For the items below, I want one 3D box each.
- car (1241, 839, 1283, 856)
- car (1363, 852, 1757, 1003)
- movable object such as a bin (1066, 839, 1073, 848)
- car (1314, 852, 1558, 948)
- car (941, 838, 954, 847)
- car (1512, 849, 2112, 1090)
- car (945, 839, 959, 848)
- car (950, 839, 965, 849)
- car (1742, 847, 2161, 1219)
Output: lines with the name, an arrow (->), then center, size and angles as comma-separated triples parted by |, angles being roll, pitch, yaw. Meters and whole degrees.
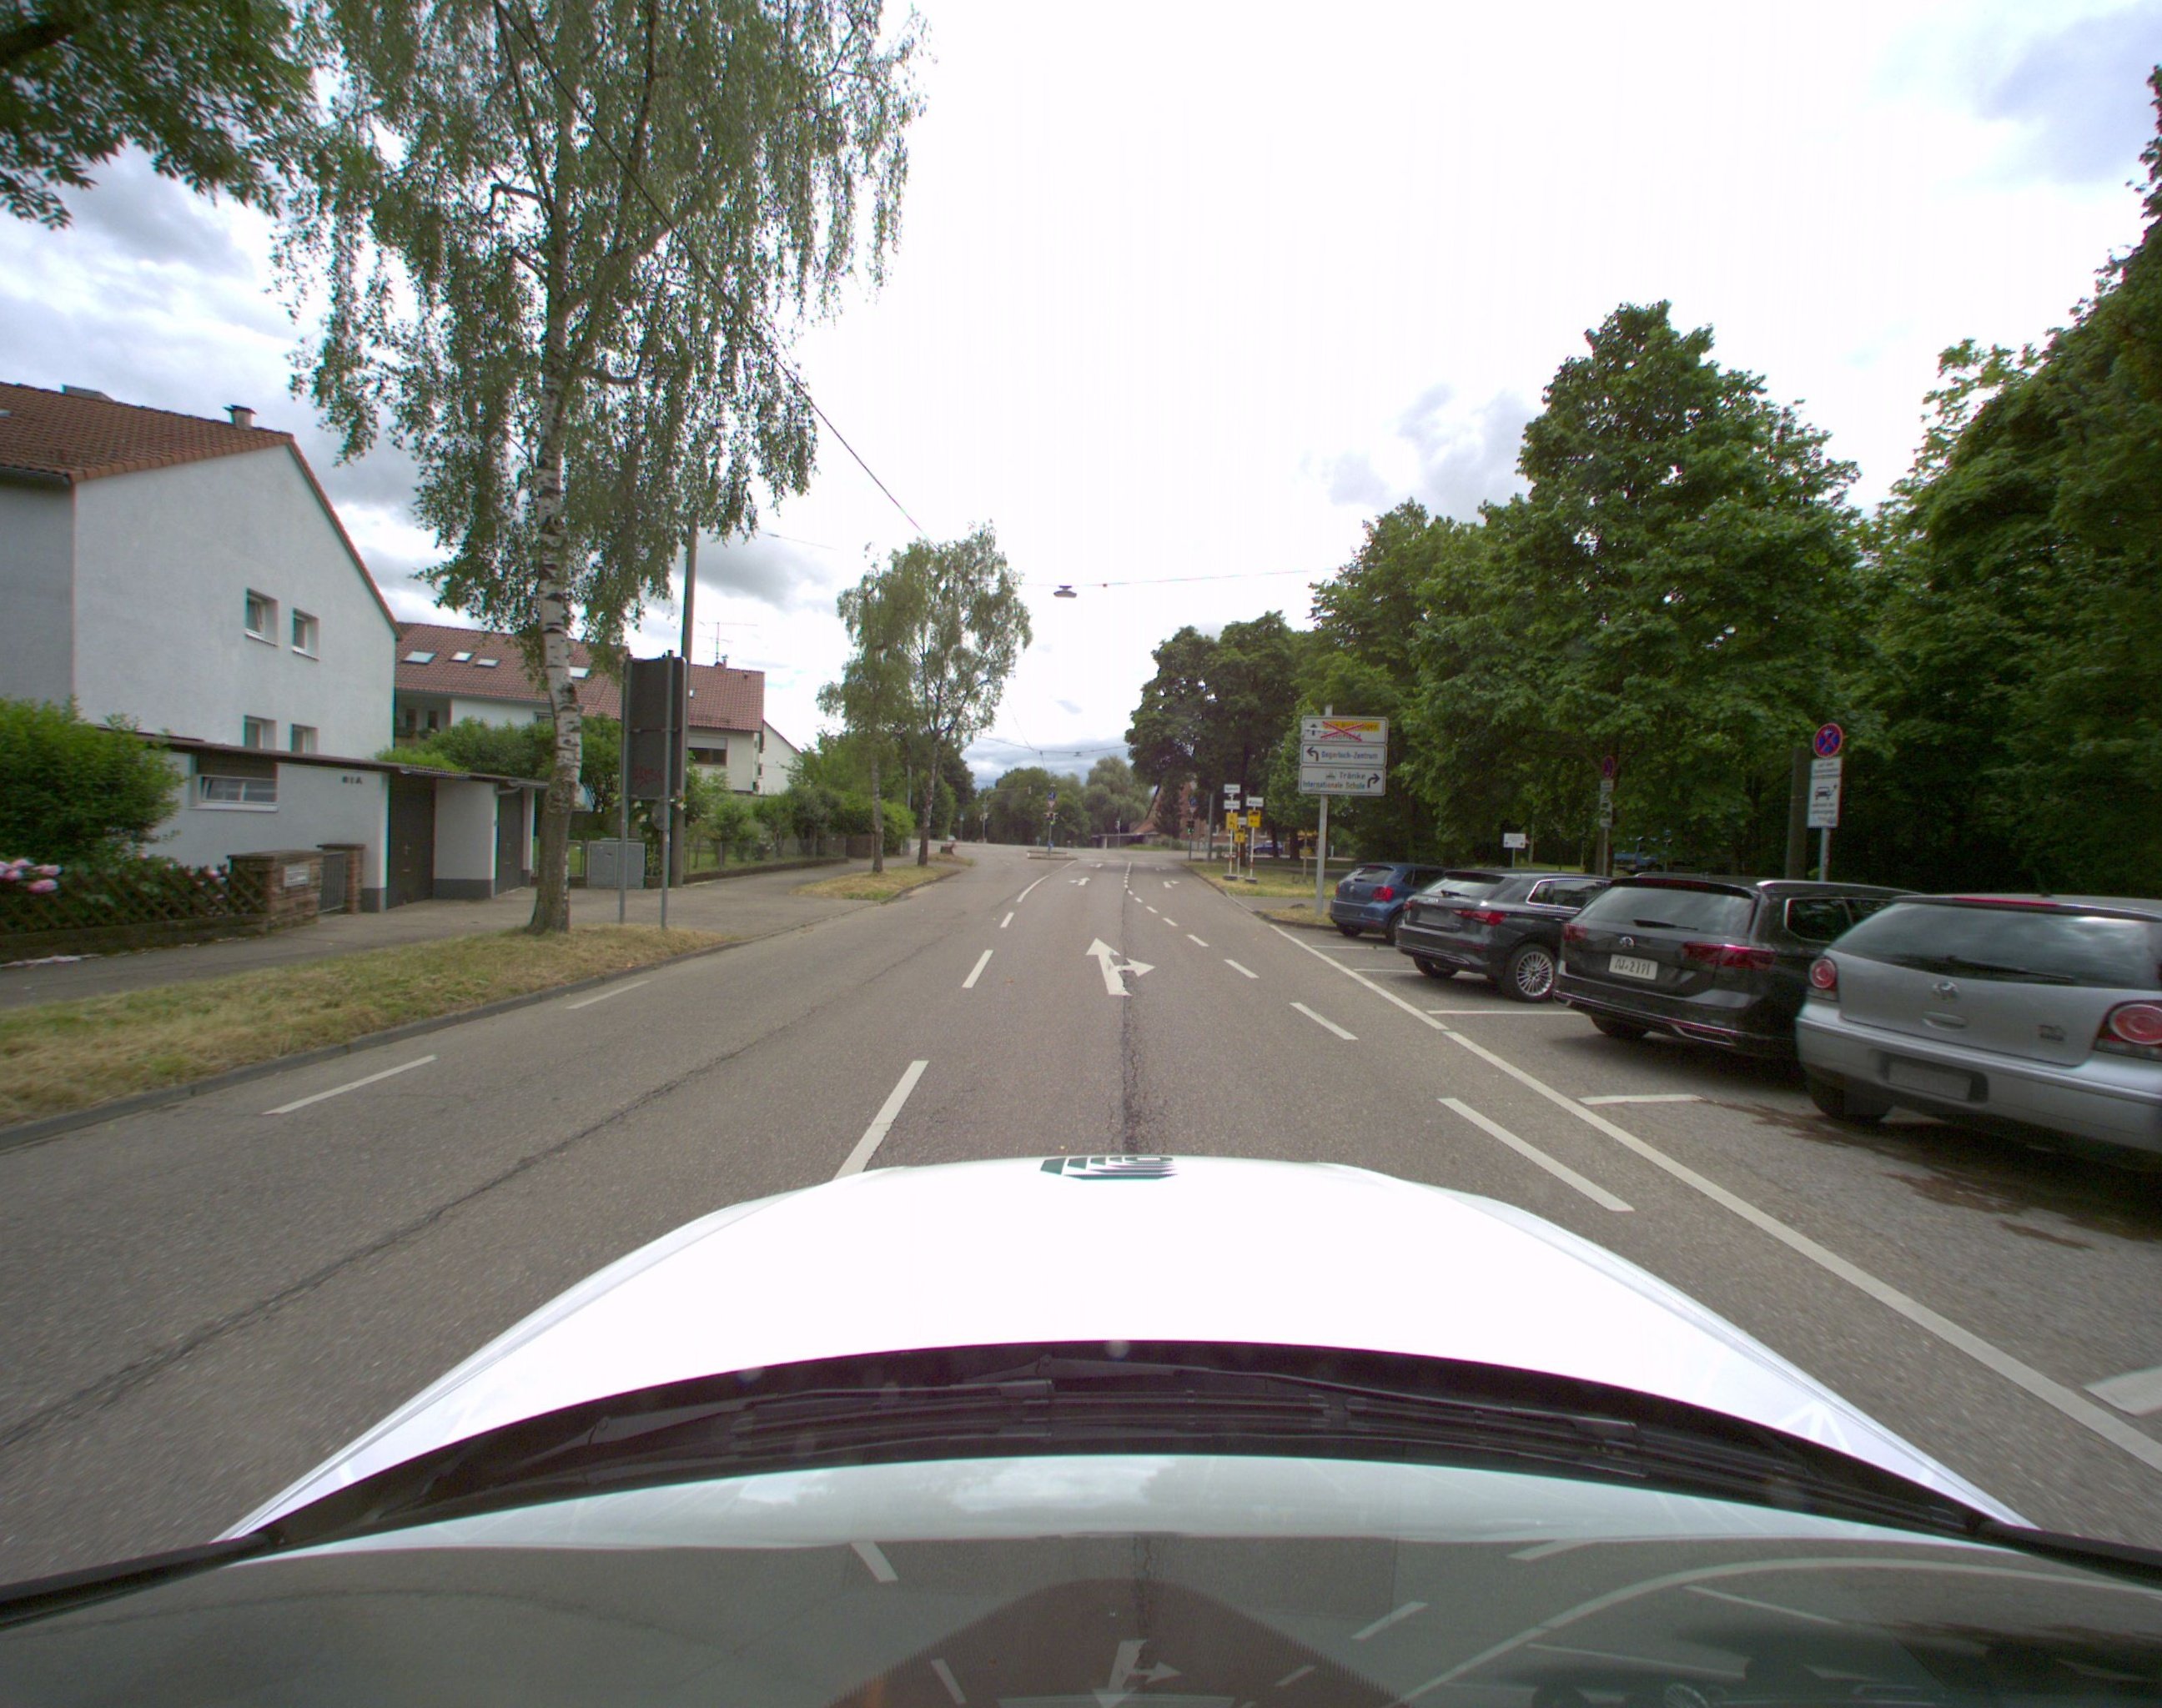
car -> 19.215, -0.693, 86.611 | 3.853, 1.647, 1.989 | 1, 1, -17
car -> 5.631, 0.840, 9.728 | 3.879, 1.426, 1.821 | 5, -1, -15
movable object such as a bin -> -1.461, -1.291, 100.654 | 0.636, 1.001, 0.579 | 2, -1, -25
car -> 6.483, 0.830, 14.998 | 3.825, 1.425, 1.738 | 5, -1, -15
car -> -22.727, -1.916, 138.729 | 1.798, 1.409, 3.979 | 1, 1, -16
car -> 5.732, 0.874, 6.524 | 3.825, 1.528, 1.738 | 5, -1, -15
car -> -21.016, -1.761, 133.046 | 1.798, 1.409, 3.979 | 1, 1, -16
car -> -19.406, -1.591, 127.862 | 1.798, 1.512, 3.979 | 1, 1, -16
car -> 6.139, 0.875, 4.637 | 3.825, 1.528, 1.738 | 5, -1, -15
